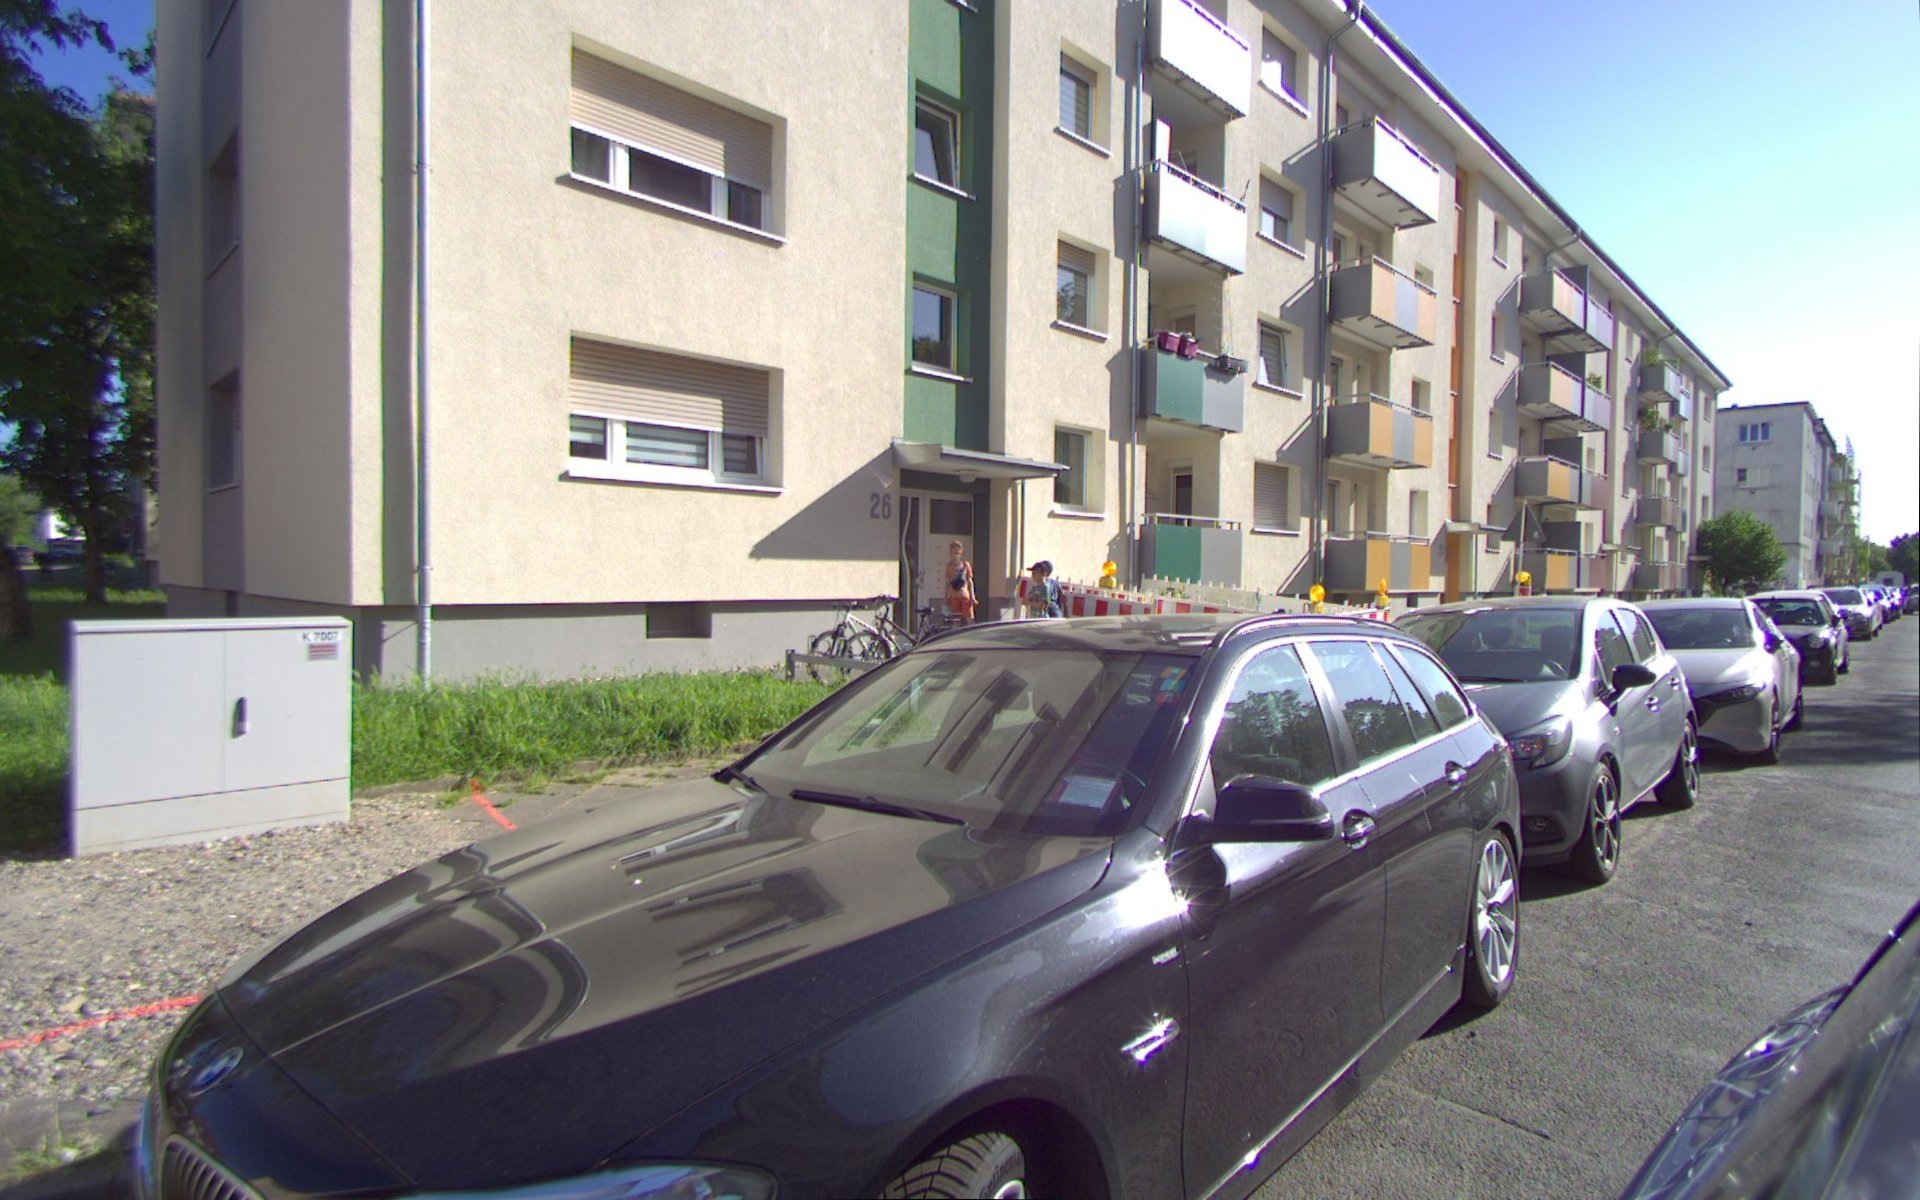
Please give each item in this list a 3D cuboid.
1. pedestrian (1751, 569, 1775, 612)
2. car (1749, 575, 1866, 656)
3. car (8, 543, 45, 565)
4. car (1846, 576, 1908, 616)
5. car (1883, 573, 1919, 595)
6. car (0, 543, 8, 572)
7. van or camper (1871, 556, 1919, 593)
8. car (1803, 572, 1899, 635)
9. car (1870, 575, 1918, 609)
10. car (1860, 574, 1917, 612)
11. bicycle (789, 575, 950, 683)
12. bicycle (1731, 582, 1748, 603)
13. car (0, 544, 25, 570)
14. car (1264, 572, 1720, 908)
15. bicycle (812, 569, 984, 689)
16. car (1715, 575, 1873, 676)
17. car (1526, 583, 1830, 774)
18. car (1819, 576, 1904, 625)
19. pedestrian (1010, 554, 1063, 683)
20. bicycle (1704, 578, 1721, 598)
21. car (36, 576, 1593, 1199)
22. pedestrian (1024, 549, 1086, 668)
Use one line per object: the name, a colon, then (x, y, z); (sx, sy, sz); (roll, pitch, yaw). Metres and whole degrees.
pedestrian: (33.975, -0.410, 42.815); (0.827, 1.793, 0.646); (-1, 2, -43)
car: (17.432, 0.237, 20.786); (1.685, 1.480, 3.762); (3, 3, 42)
car: (-65.478, -3.226, 71.036); (1.655, 1.514, 3.809); (-1, 3, -39)
car: (36.699, -0.202, 40.550); (1.751, 1.499, 4.019); (2, 2, 42)
car: (69.961, -1.186, 75.175); (2.064, 1.572, 3.939); (2, 2, 42)
car: (-51.277, -2.240, 53.089); (1.655, 1.514, 3.809); (-1, 3, -39)
van or camper: (84.800, -2.304, 91.743); (2.951, 3.218, 6.076); (4, 3, 43)
car: (25.212, 0.054, 28.581); (1.898, 1.642, 4.531); (-1, 1, 43)
car: (44.473, -0.408, 48.199); (1.605, 1.502, 3.739); (2, 3, 43)
car: (40.876, -0.367, 44.621); (1.751, 1.578, 4.191); (2, 2, 42)
bicycle: (-0.965, 0.289, 11.227); (0.446, 1.073, 1.867); (9, 7, 44)
bicycle: (39.225, -0.393, 50.927); (0.484, 1.024, 2.250); (4, 3, 41)
car: (-57.580, -2.593, 60.931); (1.655, 1.514, 3.809); (-1, 3, -39)
car: (3.633, 0.579, 6.561); (1.645, 1.478, 3.879); (2, 3, 43)
bicycle: (-0.631, 0.270, 10.824); (0.560, 1.132, 1.867); (9, 7, 44)
car: (14.152, 0.336, 17.106); (3.524, 1.485, 1.689); (-1, 3, -45)
car: (7.469, 0.636, 10.346); (4.269, 1.489, 1.792); (-2, 0, -45)
car: (30.333, -0.036, 34.010); (4.448, 1.461, 1.754); (-1, 3, -44)
pedestrian: (0.890, 0.200, 11.765); (0.446, 1.451, 0.505); (3, 2, 20)
bicycle: (38.493, -0.613, 51.777); (0.484, 0.972, 2.250); (4, 3, 41)
car: (0.401, 0.733, 3.157); (1.853, 1.542, 4.705); (2, 3, 42)
pedestrian: (1.196, 0.093, 12.751); (0.470, 1.451, 0.568); (4, 3, 43)
